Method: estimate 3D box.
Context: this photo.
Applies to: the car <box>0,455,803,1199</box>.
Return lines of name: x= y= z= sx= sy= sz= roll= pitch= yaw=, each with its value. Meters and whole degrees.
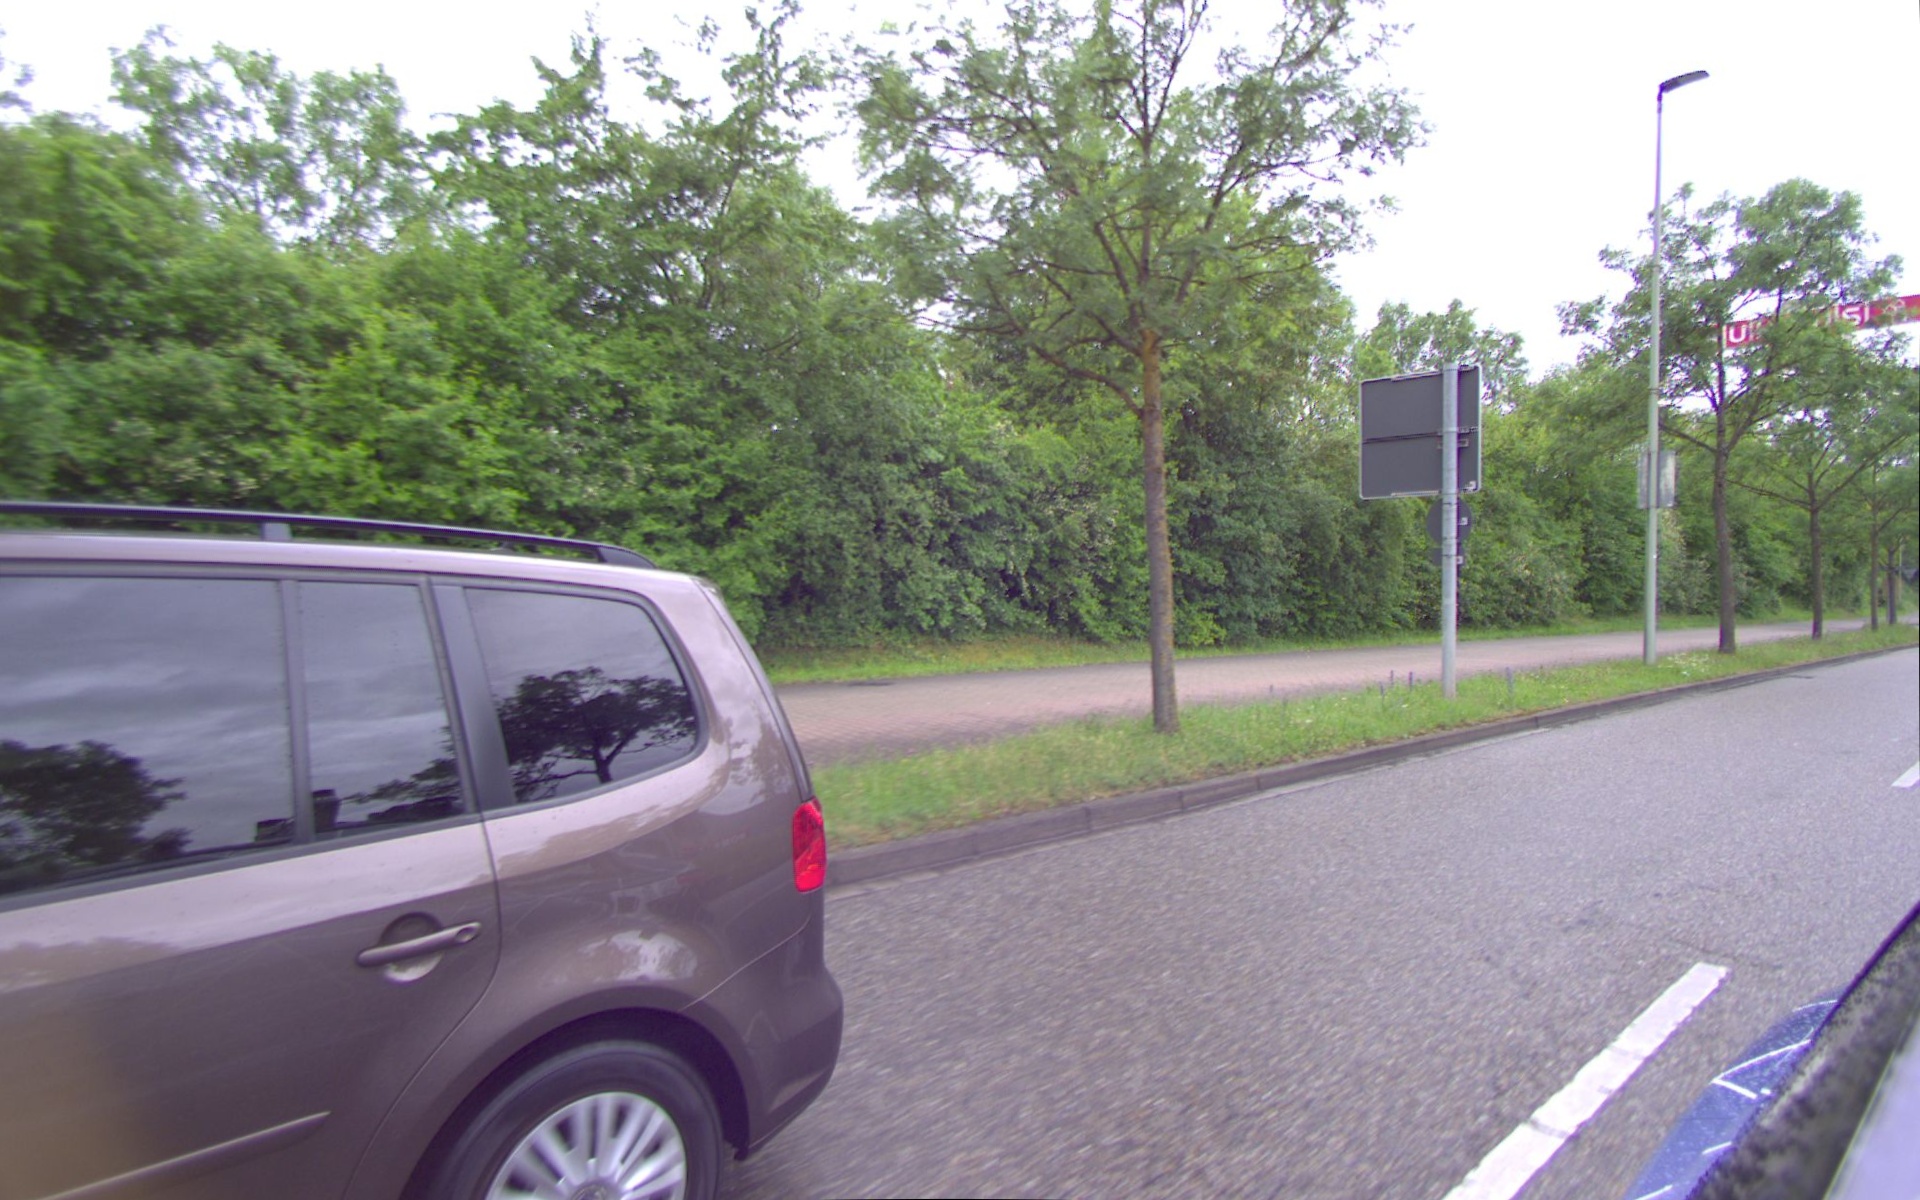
car: x=-2.421 y=0.611 z=1.498 sx=4.058 sy=1.617 sz=1.717 roll=0 pitch=0 yaw=-41
